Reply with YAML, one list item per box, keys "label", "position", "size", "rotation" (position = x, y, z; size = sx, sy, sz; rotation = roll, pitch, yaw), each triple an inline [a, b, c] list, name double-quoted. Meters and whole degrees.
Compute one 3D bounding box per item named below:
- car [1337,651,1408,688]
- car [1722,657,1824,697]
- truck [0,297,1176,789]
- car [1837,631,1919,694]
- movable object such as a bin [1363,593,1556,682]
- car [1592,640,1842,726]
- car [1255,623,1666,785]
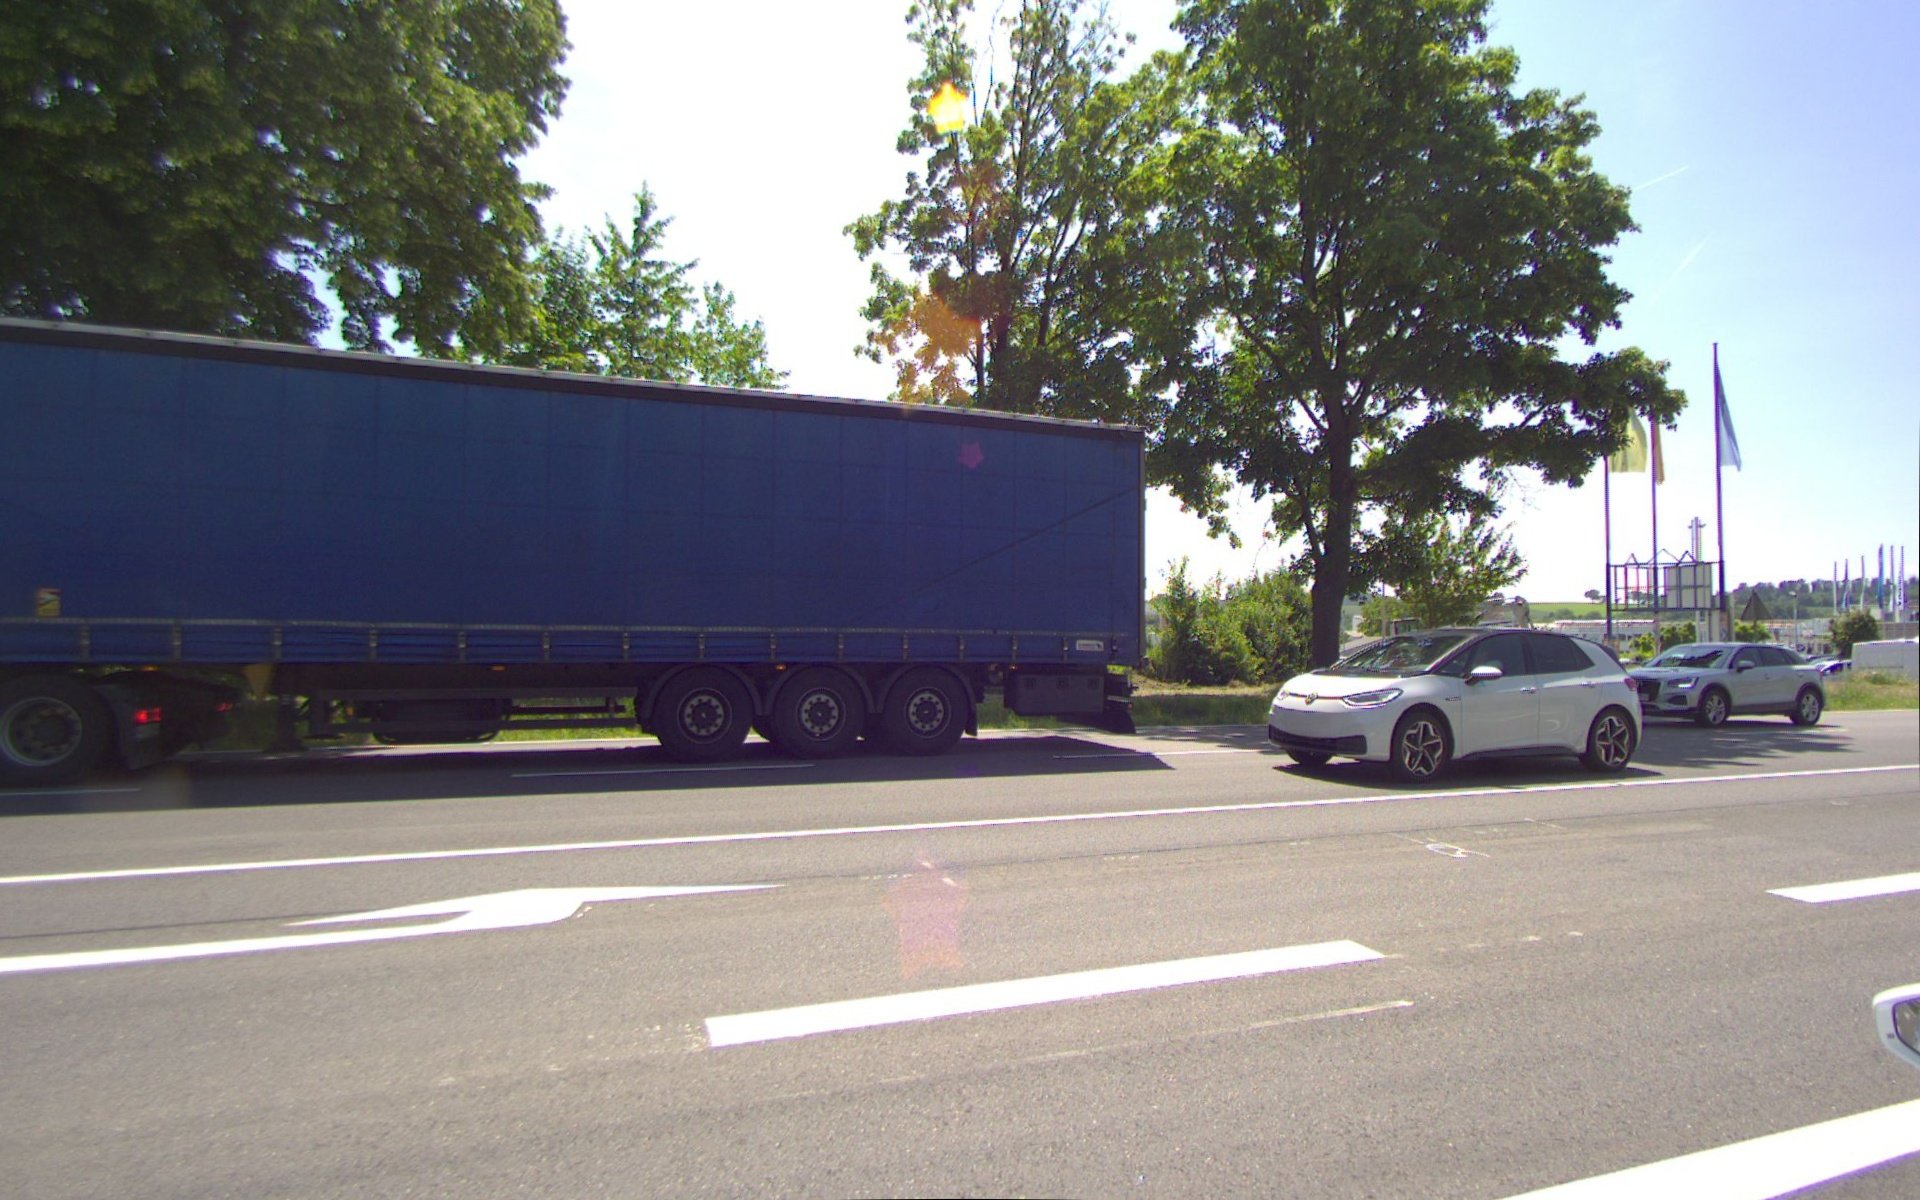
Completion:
- label: "car"
  position: [25.450, 4.248, 62.124]
  size: [3.922, 2.040, 2.000]
  rotation: [1, -1, 21]
- label: "car"
  position: [44.758, 4.210, 55.381]
  size: [3.923, 2.040, 2.000]
  rotation: [0, -3, 23]
- label: "truck"
  position: [-5.359, -0.349, 11.335]
  size: [16.327, 4.231, 2.964]
  rotation: [2, -2, -21]
- label: "car"
  position: [39.971, 2.515, 40.852]
  size: [2.166, 2.519, 5.976]
  rotation: [1, -6, -25]
- label: "movable object such as a bin"
  position: [19.752, 1.475, 40.261]
  size: [6.660, 3.342, 3.052]
  rotation: [0, -2, 21]
- label: "car"
  position: [14.046, 1.491, 18.664]
  size: [4.116, 1.446, 1.759]
  rotation: [1, -2, -20]
- label: "car"
  position: [5.553, 1.057, 11.189]
  size: [4.124, 1.542, 1.790]
  rotation: [1, -3, -21]
